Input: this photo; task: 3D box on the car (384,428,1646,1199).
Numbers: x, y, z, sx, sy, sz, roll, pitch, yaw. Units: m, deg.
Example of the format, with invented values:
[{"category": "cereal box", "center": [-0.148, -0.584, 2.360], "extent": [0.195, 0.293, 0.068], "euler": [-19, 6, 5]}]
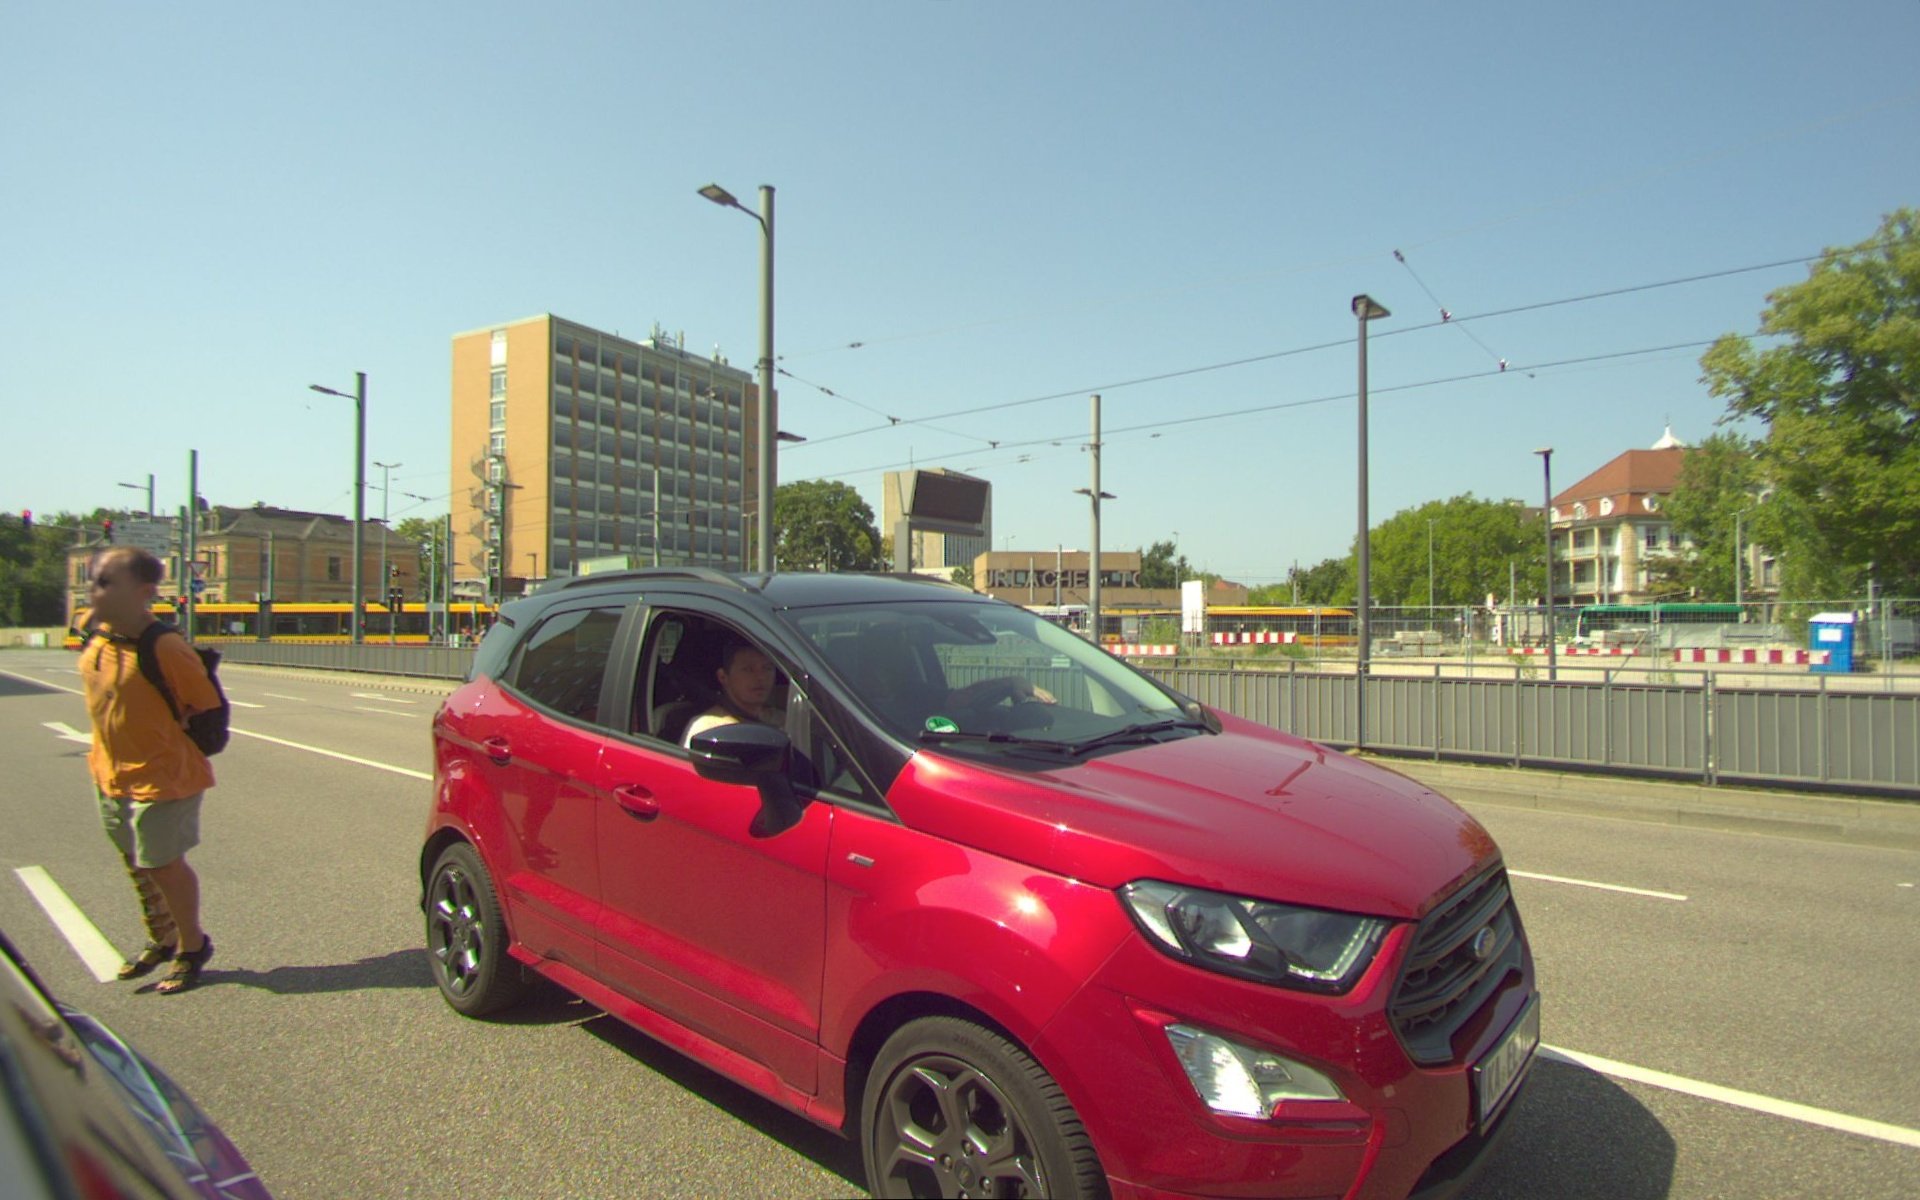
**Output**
[{"category": "car", "center": [-0.286, 0.625, 3.291], "extent": [3.967, 1.633, 1.612], "euler": [-2, -1, 42]}]

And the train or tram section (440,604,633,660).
[{"category": "train or tram section", "center": [-29.047, 2.191, 69.742], "extent": [12.179, 3.794, 2.002], "euler": [0, -2, -5]}]

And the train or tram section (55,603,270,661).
[{"category": "train or tram section", "center": [-53.268, 2.155, 67.778], "extent": [12.179, 3.794, 2.002], "euler": [0, -2, -5]}]

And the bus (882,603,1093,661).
[{"category": "bus", "center": [1.637, 2.025, 65.280], "extent": [13.204, 3.319, 3.354], "euler": [-1, -1, -5]}]

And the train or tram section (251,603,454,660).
[{"category": "train or tram section", "center": [-41.141, 2.171, 68.793], "extent": [12.179, 3.794, 2.002], "euler": [0, -2, -5]}]

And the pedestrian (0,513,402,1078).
[{"category": "pedestrian", "center": [-2.932, 0.623, 3.805], "extent": [0.954, 1.754, 1.238], "euler": [-1, -2, 3]}]
